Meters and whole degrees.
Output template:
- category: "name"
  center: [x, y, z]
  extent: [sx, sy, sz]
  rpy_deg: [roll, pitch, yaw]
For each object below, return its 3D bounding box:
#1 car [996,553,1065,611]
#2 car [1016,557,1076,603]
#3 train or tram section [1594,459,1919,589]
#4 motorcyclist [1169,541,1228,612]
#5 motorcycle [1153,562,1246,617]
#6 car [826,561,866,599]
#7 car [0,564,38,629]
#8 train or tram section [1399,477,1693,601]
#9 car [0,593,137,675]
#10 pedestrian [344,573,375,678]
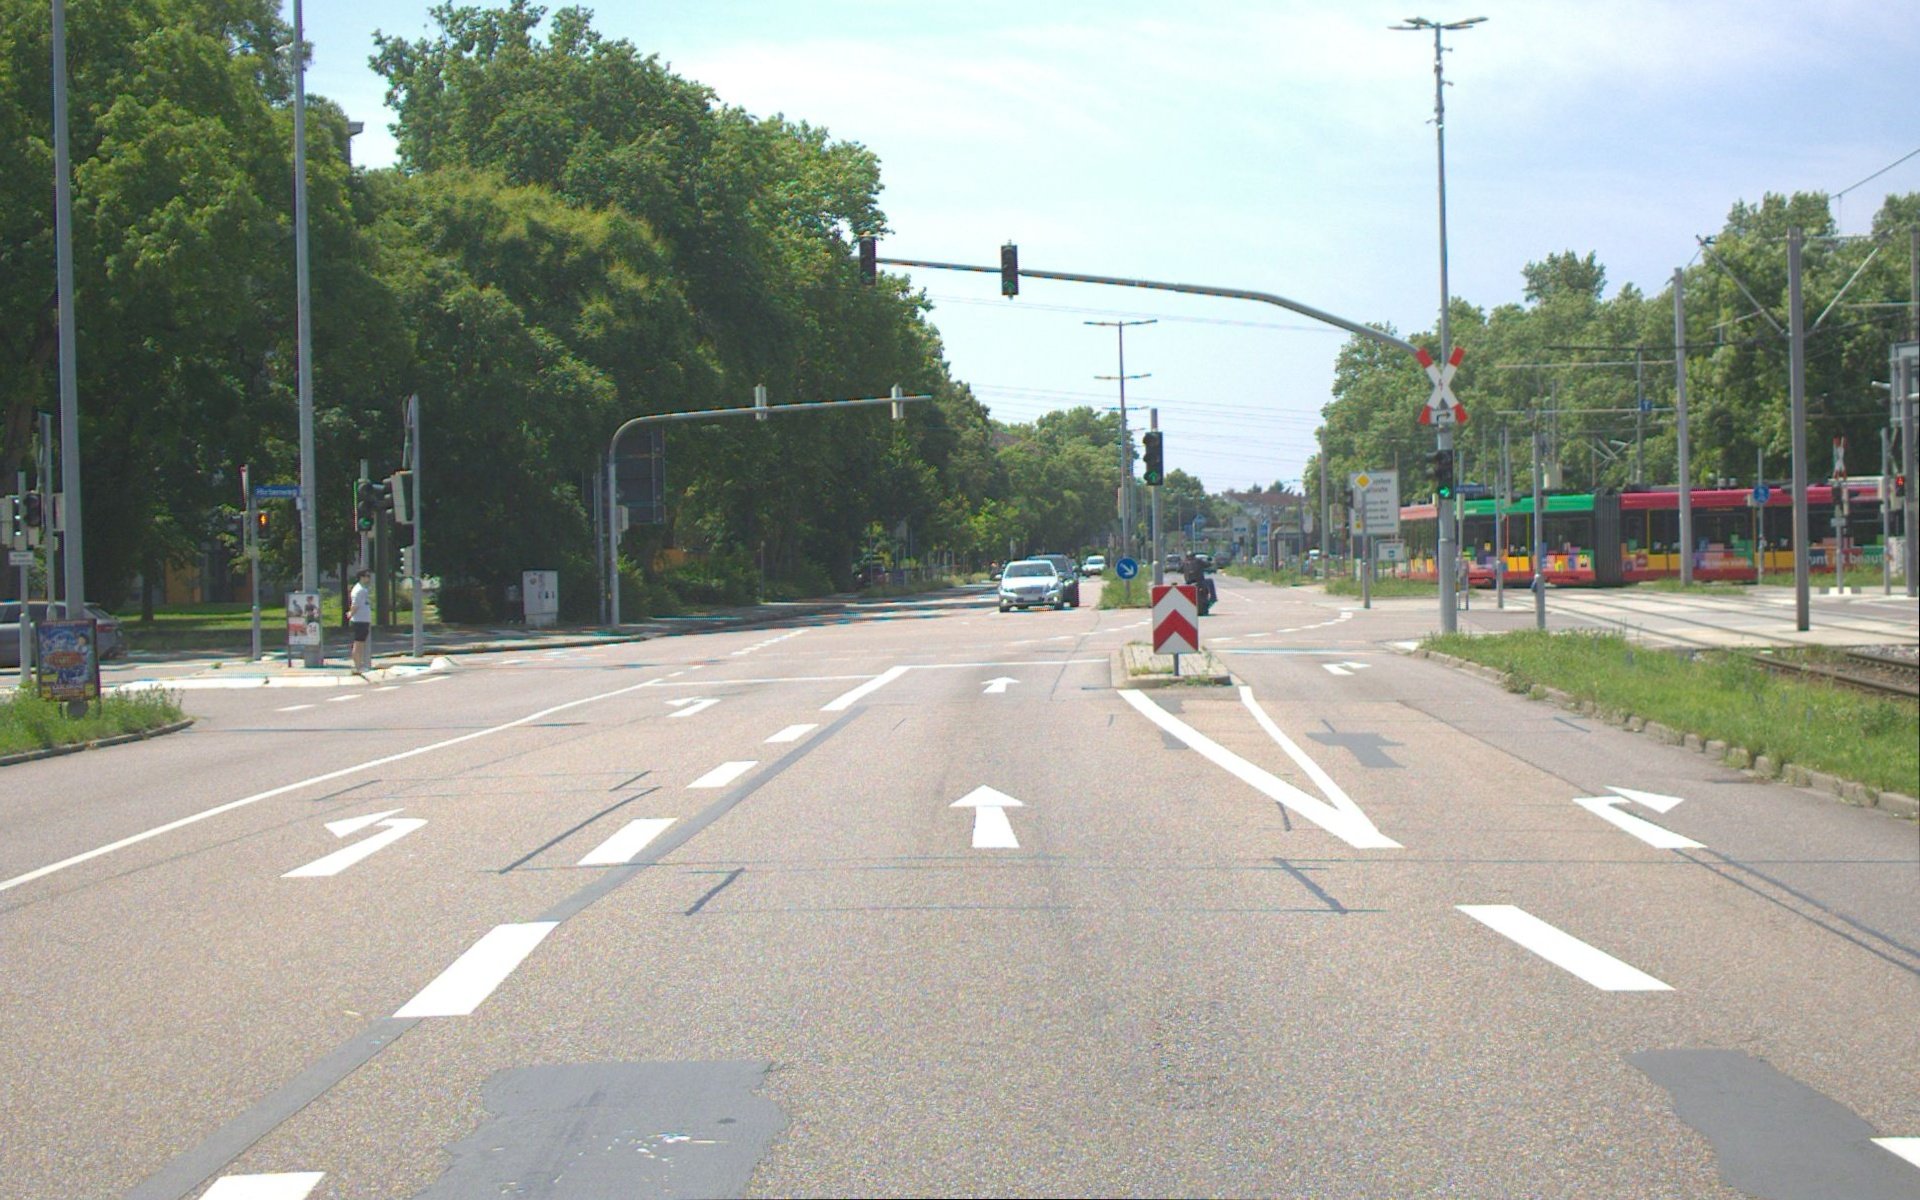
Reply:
- category: "car"
  center: [2.066, -0.531, 99.783]
  extent: [1.784, 1.623, 3.865]
  rpy_deg: [-1, 1, 4]
- category: "car"
  center: [2.704, -0.627, 107.295]
  extent: [1.711, 1.361, 3.865]
  rpy_deg: [-1, 1, 4]
- category: "train or tram section"
  center: [28.031, -2.490, 116.033]
  extent: [13.443, 3.799, 2.916]
  rpy_deg: [-2, -3, 41]
- category: "motorcyclist"
  center: [5.595, -0.555, 80.550]
  extent: [0.792, 1.637, 1.208]
  rpy_deg: [0, 1, 42]
- category: "motorcycle"
  center: [5.618, -0.258, 80.601]
  extent: [0.849, 1.251, 2.443]
  rpy_deg: [0, 1, 42]
- category: "car"
  center: [-6.359, -1.116, 191.521]
  extent: [1.993, 2.007, 4.000]
  rpy_deg: [2, 0, 0]
- category: "car"
  center: [-27.805, -0.046, 94.304]
  extent: [1.790, 1.762, 4.537]
  rpy_deg: [-1, 1, 44]
- category: "train or tram section"
  center: [21.099, -2.114, 125.025]
  extent: [2.914, 3.799, 13.074]
  rpy_deg: [1, -2, -29]
- category: "car"
  center: [-18.350, 0.664, 66.230]
  extent: [4.614, 1.494, 1.913]
  rpy_deg: [-1, 1, -5]
- category: "pedestrian"
  center: [-9.687, 0.403, 55.494]
  extent: [0.382, 1.681, 0.486]
  rpy_deg: [-1, 1, 0]
